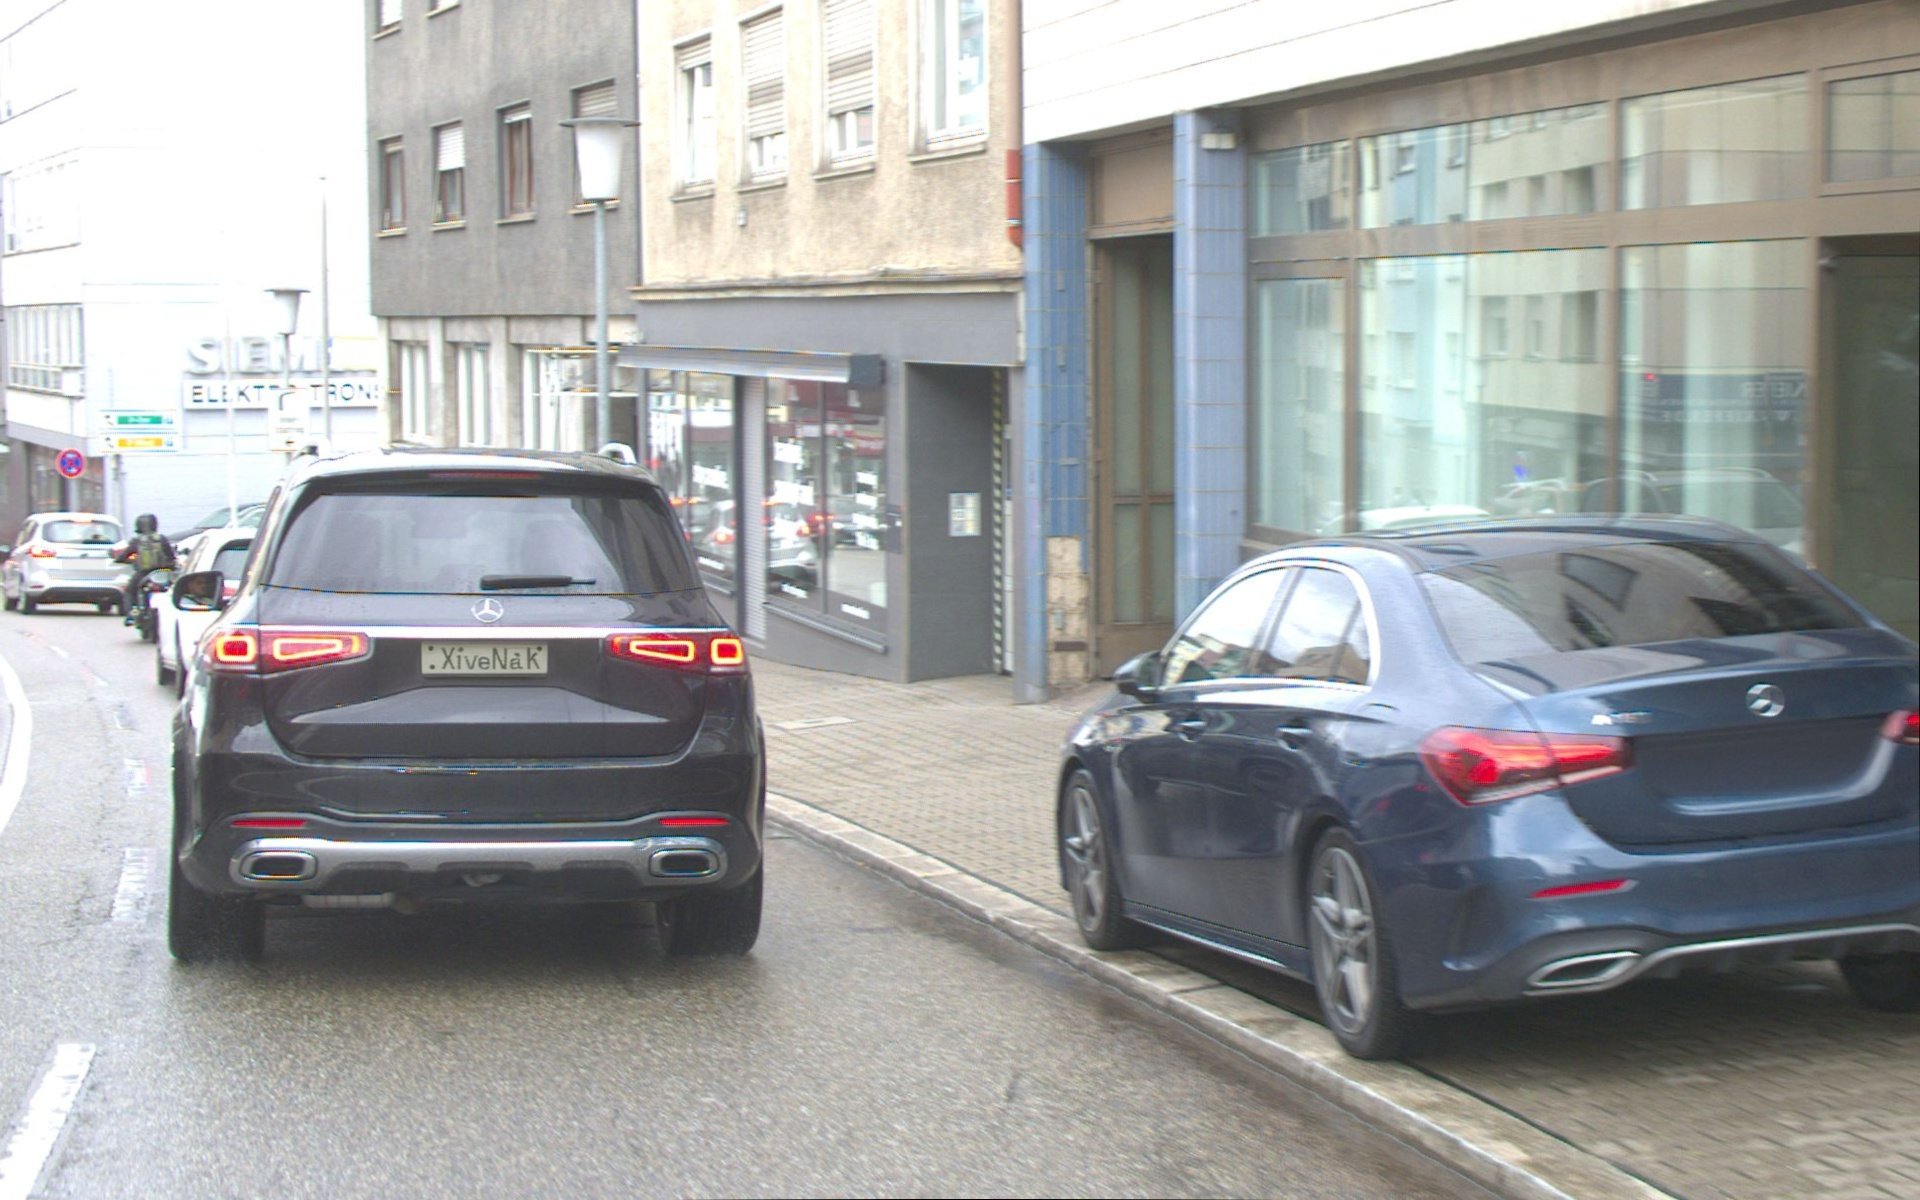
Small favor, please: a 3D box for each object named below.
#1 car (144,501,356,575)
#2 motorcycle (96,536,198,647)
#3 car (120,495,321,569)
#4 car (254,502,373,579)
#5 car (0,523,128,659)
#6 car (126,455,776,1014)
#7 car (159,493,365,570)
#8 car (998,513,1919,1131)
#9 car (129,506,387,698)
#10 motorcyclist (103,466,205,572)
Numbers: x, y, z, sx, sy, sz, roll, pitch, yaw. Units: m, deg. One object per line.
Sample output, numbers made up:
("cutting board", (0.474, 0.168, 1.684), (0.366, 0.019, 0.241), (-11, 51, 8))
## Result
("car", (-14.732, -1.268, 71.428), (3.988, 1.489, 1.732), (0, 0, -40))
("motorcycle", (-9.896, -0.131, 41.764), (0.867, 1.053, 2.940), (-1, 6, -20))
("car", (-16.425, -1.495, 76.413), (3.988, 1.592, 1.798), (0, 0, -40))
("car", (-12.812, -1.191, 67.952), (1.565, 1.472, 4.071), (0, 2, -22))
("car", (-14.185, -0.184, 54.096), (1.753, 1.774, 3.577), (-1, 6, -20))
("car", (-2.031, 0.348, 13.185), (2.020, 1.733, 4.749), (0, 2, -11))
("car", (-15.063, -1.459, 74.259), (3.988, 1.592, 1.798), (0, 0, -40))
("car", (1.478, 0.485, 10.533), (1.763, 1.387, 4.380), (-4, 2, -11))
("car", (-6.254, -0.020, 30.289), (1.830, 1.456, 4.380), (-4, 2, -16))
("motorcyclist", (-9.804, -1.008, 41.724), (0.867, 1.053, 2.940), (-1, 6, -20))
